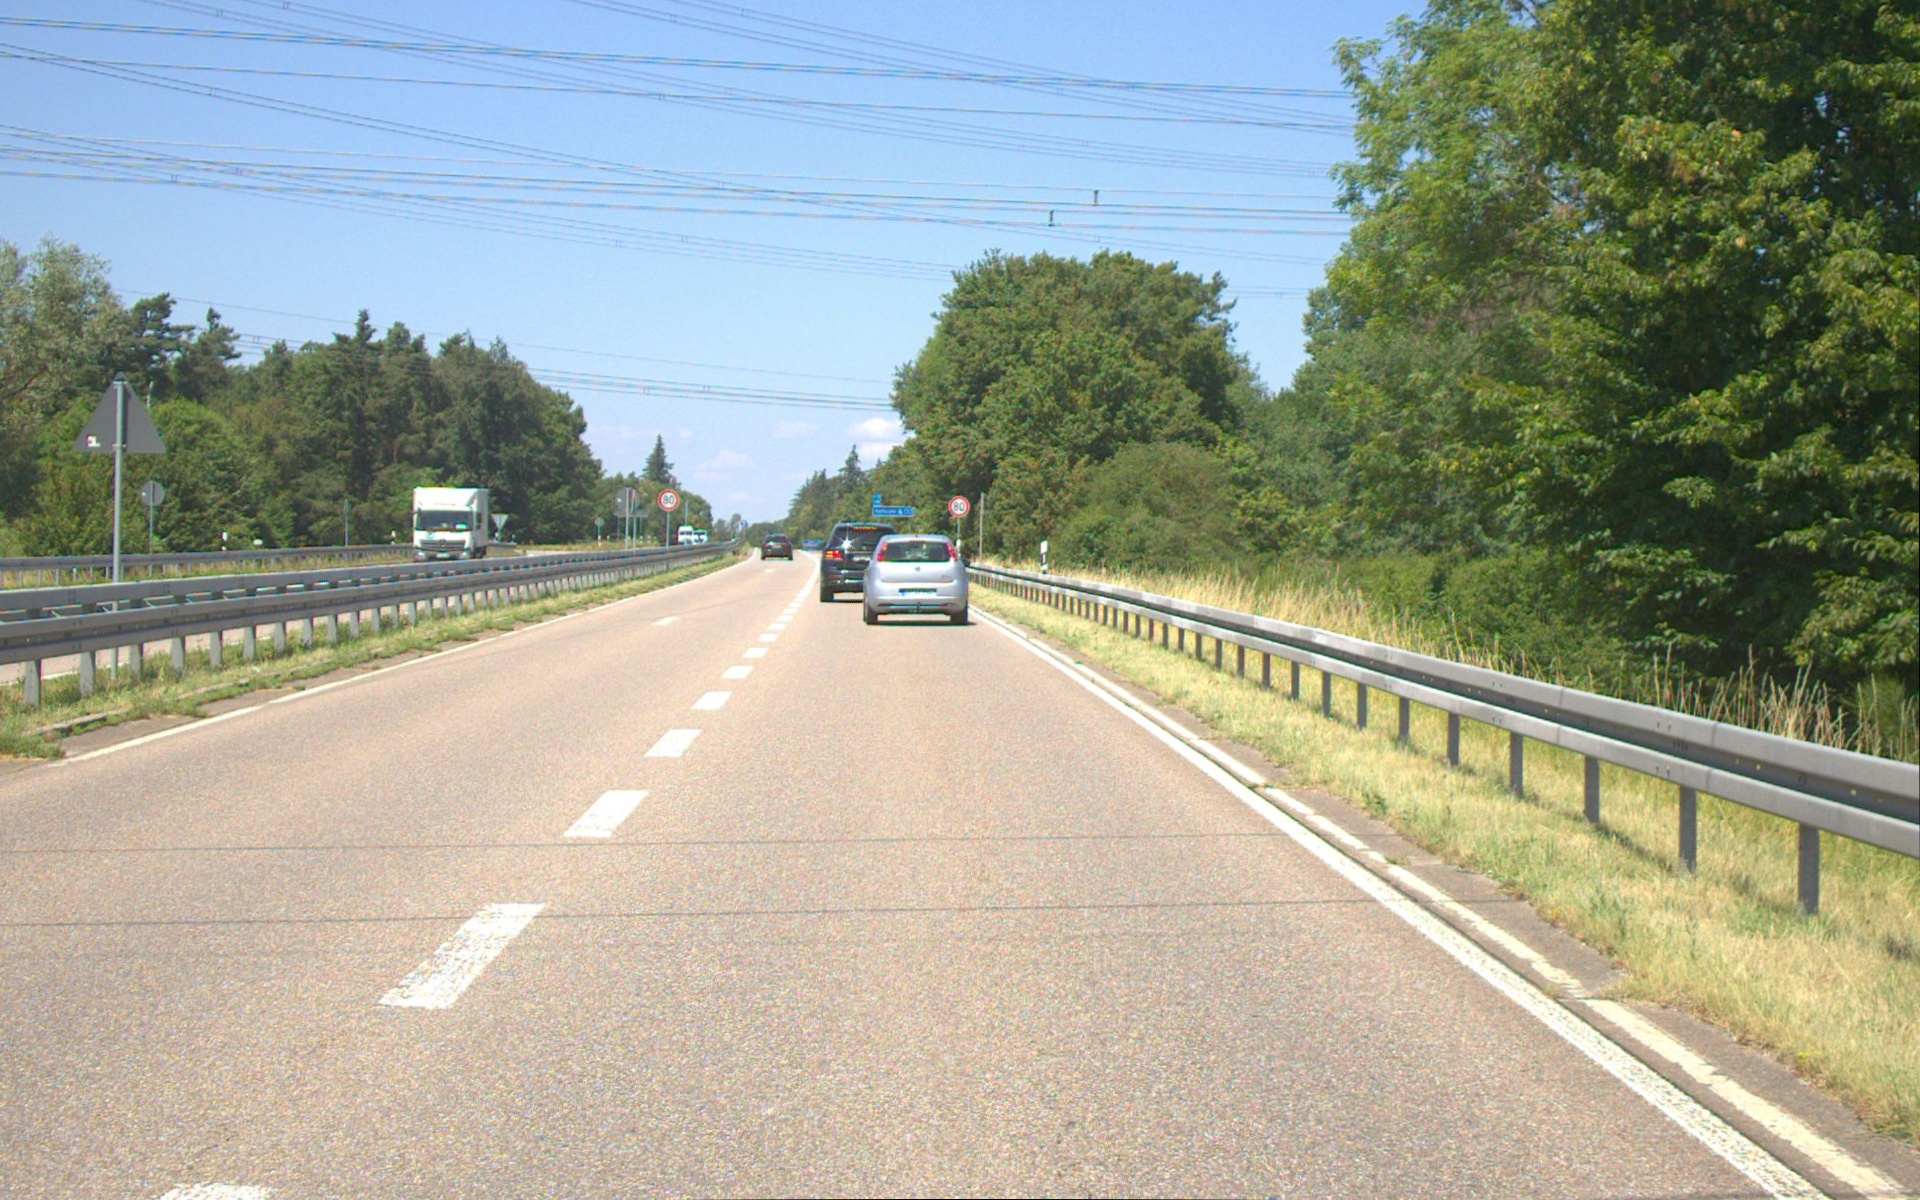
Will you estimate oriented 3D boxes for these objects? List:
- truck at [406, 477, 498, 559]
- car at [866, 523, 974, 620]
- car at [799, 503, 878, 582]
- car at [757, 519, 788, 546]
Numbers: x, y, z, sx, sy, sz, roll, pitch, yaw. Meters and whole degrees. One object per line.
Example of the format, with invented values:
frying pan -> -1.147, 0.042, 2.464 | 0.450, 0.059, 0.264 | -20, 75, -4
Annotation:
truck -> -20.331, -3.296, 138.045 | 2.718, 3.182, 8.406 | 0, 1, -2
car -> -0.687, -0.488, 56.686 | 1.640, 1.463, 3.419 | 3, 1, -2
car -> -2.707, -1.279, 76.202 | 1.640, 1.648, 3.574 | 3, 1, -3
car -> -10.693, -3.858, 196.394 | 1.712, 1.466, 3.574 | 3, 1, -3
